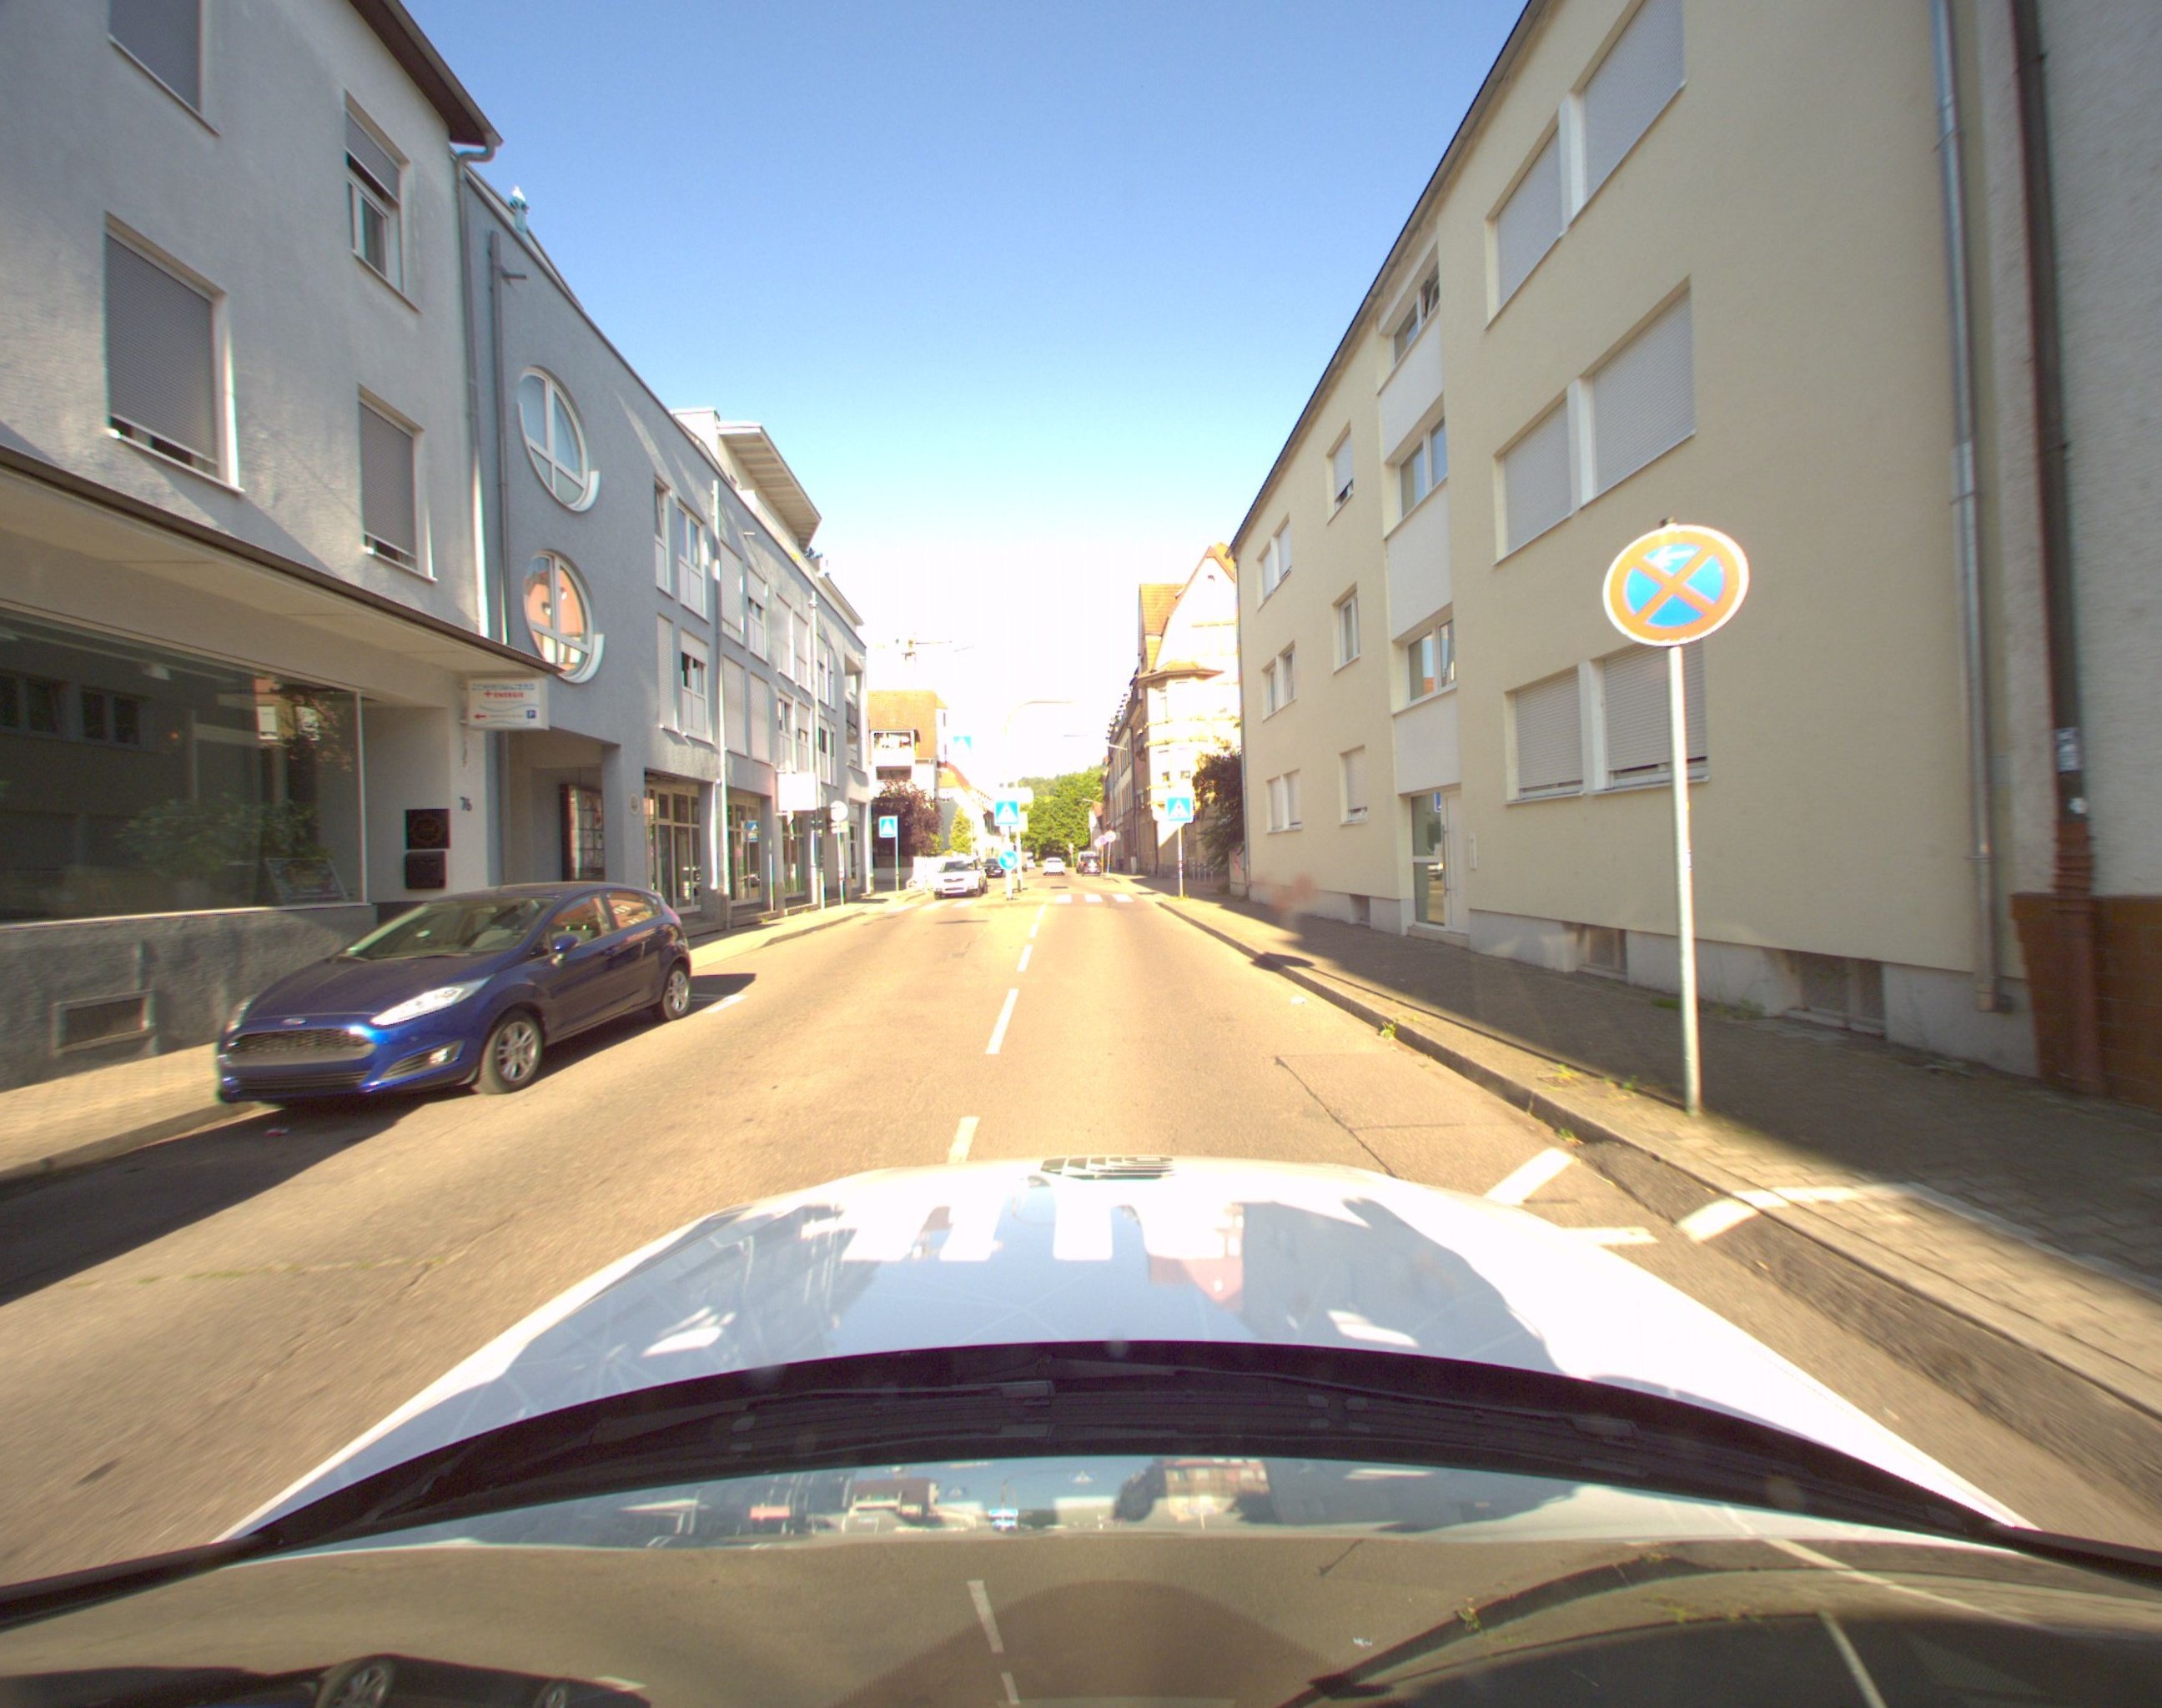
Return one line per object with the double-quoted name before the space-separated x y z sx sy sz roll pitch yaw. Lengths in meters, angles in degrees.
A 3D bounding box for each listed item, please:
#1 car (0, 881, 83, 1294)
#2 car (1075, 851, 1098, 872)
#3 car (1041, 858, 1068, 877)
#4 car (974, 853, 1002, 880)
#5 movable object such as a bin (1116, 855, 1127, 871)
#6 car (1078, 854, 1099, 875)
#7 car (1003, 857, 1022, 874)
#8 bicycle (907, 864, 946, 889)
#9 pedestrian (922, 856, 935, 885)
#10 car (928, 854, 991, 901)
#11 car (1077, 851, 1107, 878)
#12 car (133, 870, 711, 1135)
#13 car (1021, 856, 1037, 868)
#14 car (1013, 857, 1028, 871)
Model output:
"car" -4.800 0.901 1.337 1.656 1.526 3.805 -2 0 -2
"car" 0.505 0.694 78.115 1.837 1.905 3.996 -4 1 -3
"car" -2.235 1.073 67.281 1.990 1.466 3.994 -3 0 -4
"car" -7.512 0.977 66.039 1.989 2.013 3.995 -2 0 -4
"movable object such as a bin" 3.612 0.830 72.737 0.870 1.377 0.683 -4 1 -6
"car" 0.688 0.928 73.200 1.812 1.630 4.001 -4 1 1
"car" -7.843 1.310 93.082 1.906 1.760 4.124 -4 1 -3
"bicycle" -7.838 1.147 41.361 1.781 1.184 0.598 -3 0 -2
"pedestrian" -7.835 0.829 41.816 0.556 1.472 0.600 -3 0 -6
"car" -4.889 0.907 33.351 1.801 1.701 4.192 -4 0 0
"car" 0.796 0.765 61.840 2.006 1.853 3.996 -1 0 -3
"car" -4.945 0.948 6.985 1.726 1.499 3.957 -3 -1 -1
"car" -8.730 1.355 136.643 1.996 2.013 3.982 -2 0 -13
"car" -7.581 1.228 102.165 1.627 1.630 3.171 -4 1 -3
